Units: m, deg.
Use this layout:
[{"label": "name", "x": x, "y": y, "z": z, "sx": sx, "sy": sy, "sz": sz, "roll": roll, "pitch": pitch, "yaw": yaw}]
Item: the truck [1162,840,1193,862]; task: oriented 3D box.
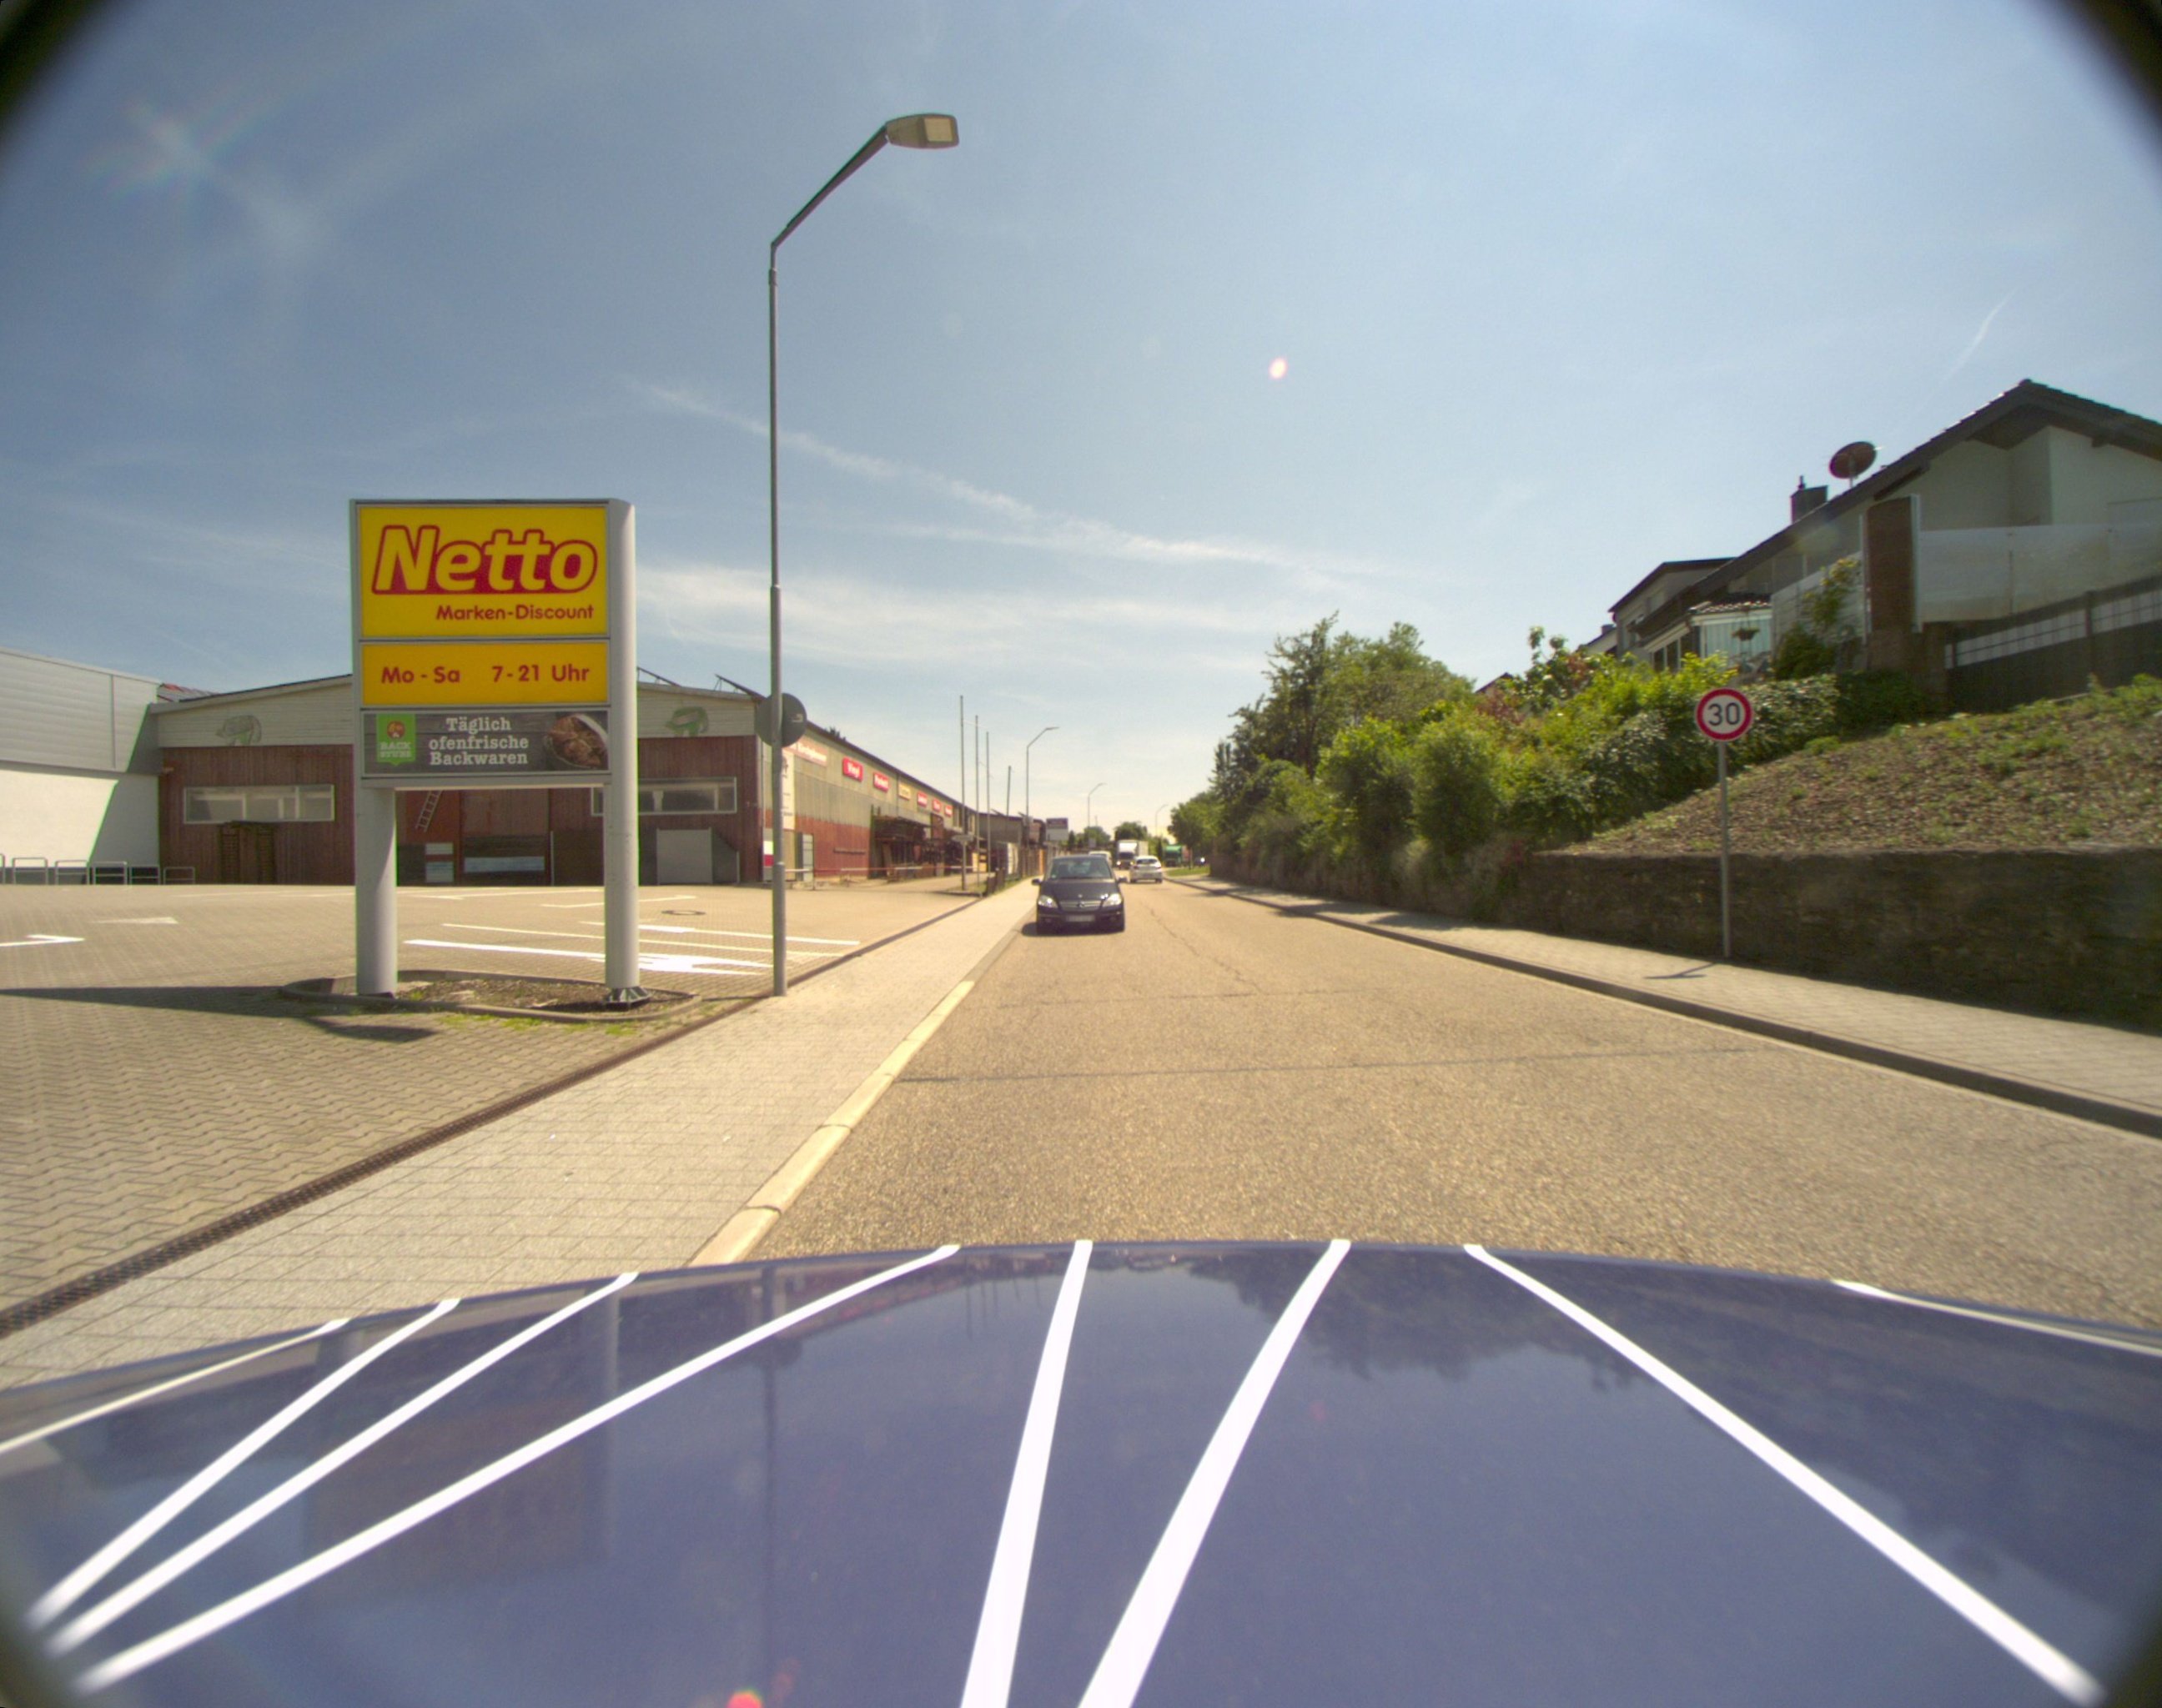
[{"label": "truck", "x": 14.800, "y": -0.419, "z": 115.912, "sx": 2.848, "sy": 3.214, "sz": 8.177, "roll": 2, "pitch": 0, "yaw": 20}]

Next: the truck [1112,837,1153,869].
[{"label": "truck", "x": 6.300, "y": -0.065, "z": 91.629, "sx": 3.199, "sy": 3.578, "sz": 8.318, "roll": 2, "pitch": 0, "yaw": 16}]

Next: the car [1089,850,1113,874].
[{"label": "car", "x": 1.717, "y": 0.643, "z": 64.076, "sx": 1.867, "sy": 1.897, "sz": 5.038, "roll": -3, "pitch": 0, "yaw": 3}]

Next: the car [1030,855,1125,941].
[{"label": "car", "x": -0.042, "y": 0.846, "z": 16.757, "sx": 1.764, "sy": 1.583, "sz": 4.198, "roll": -3, "pitch": 0, "yaw": 1}]

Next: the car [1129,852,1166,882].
[{"label": "car", "x": 3.649, "y": 0.704, "z": 42.179, "sx": 1.826, "sy": 1.516, "sz": 3.558, "roll": -2, "pitch": 0, "yaw": 3}]
